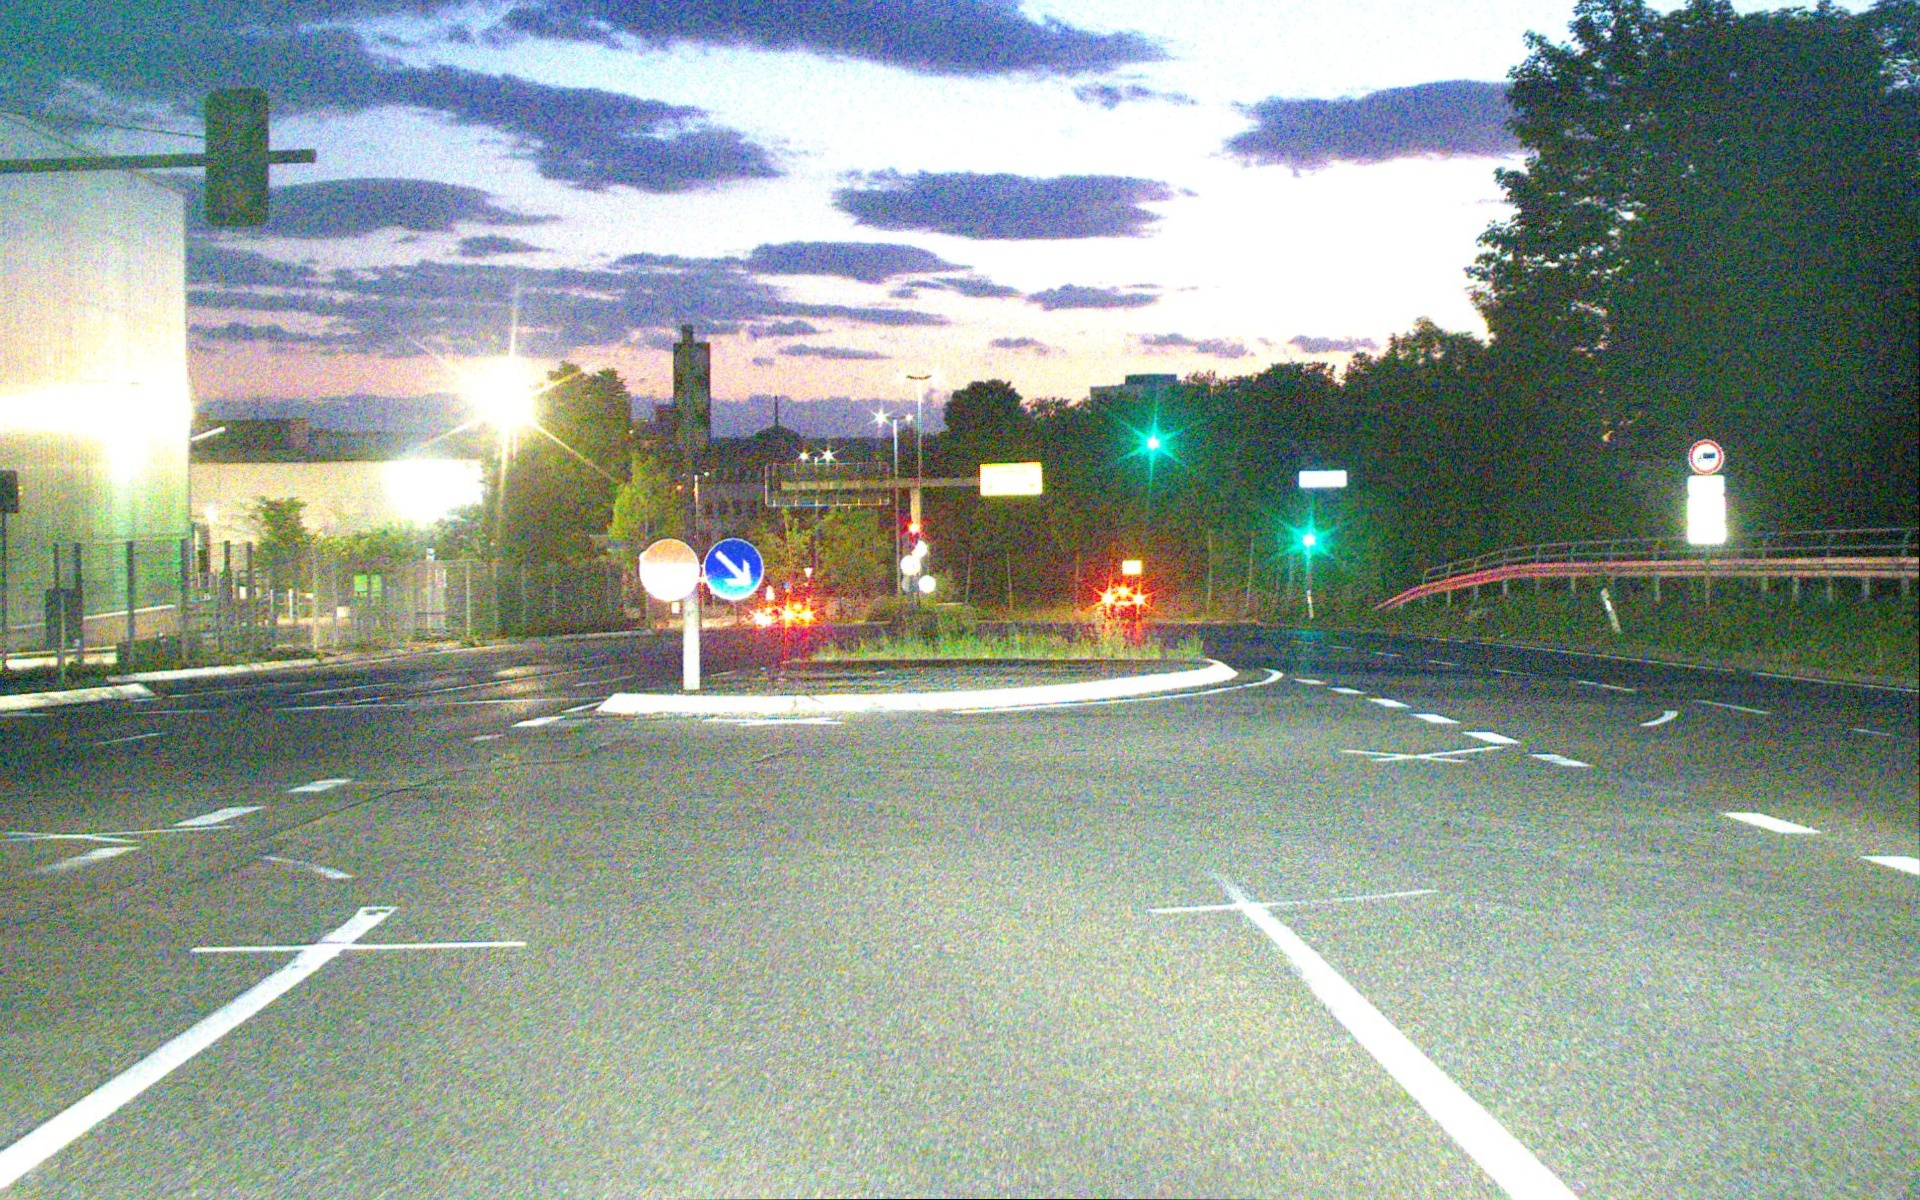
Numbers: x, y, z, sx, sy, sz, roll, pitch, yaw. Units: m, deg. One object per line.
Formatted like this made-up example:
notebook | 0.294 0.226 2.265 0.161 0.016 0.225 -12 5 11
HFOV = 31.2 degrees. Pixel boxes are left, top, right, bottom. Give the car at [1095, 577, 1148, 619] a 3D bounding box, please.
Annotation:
car | 6.857 -0.097 146.444 1.935 1.640 4.001 -1 1 -2
